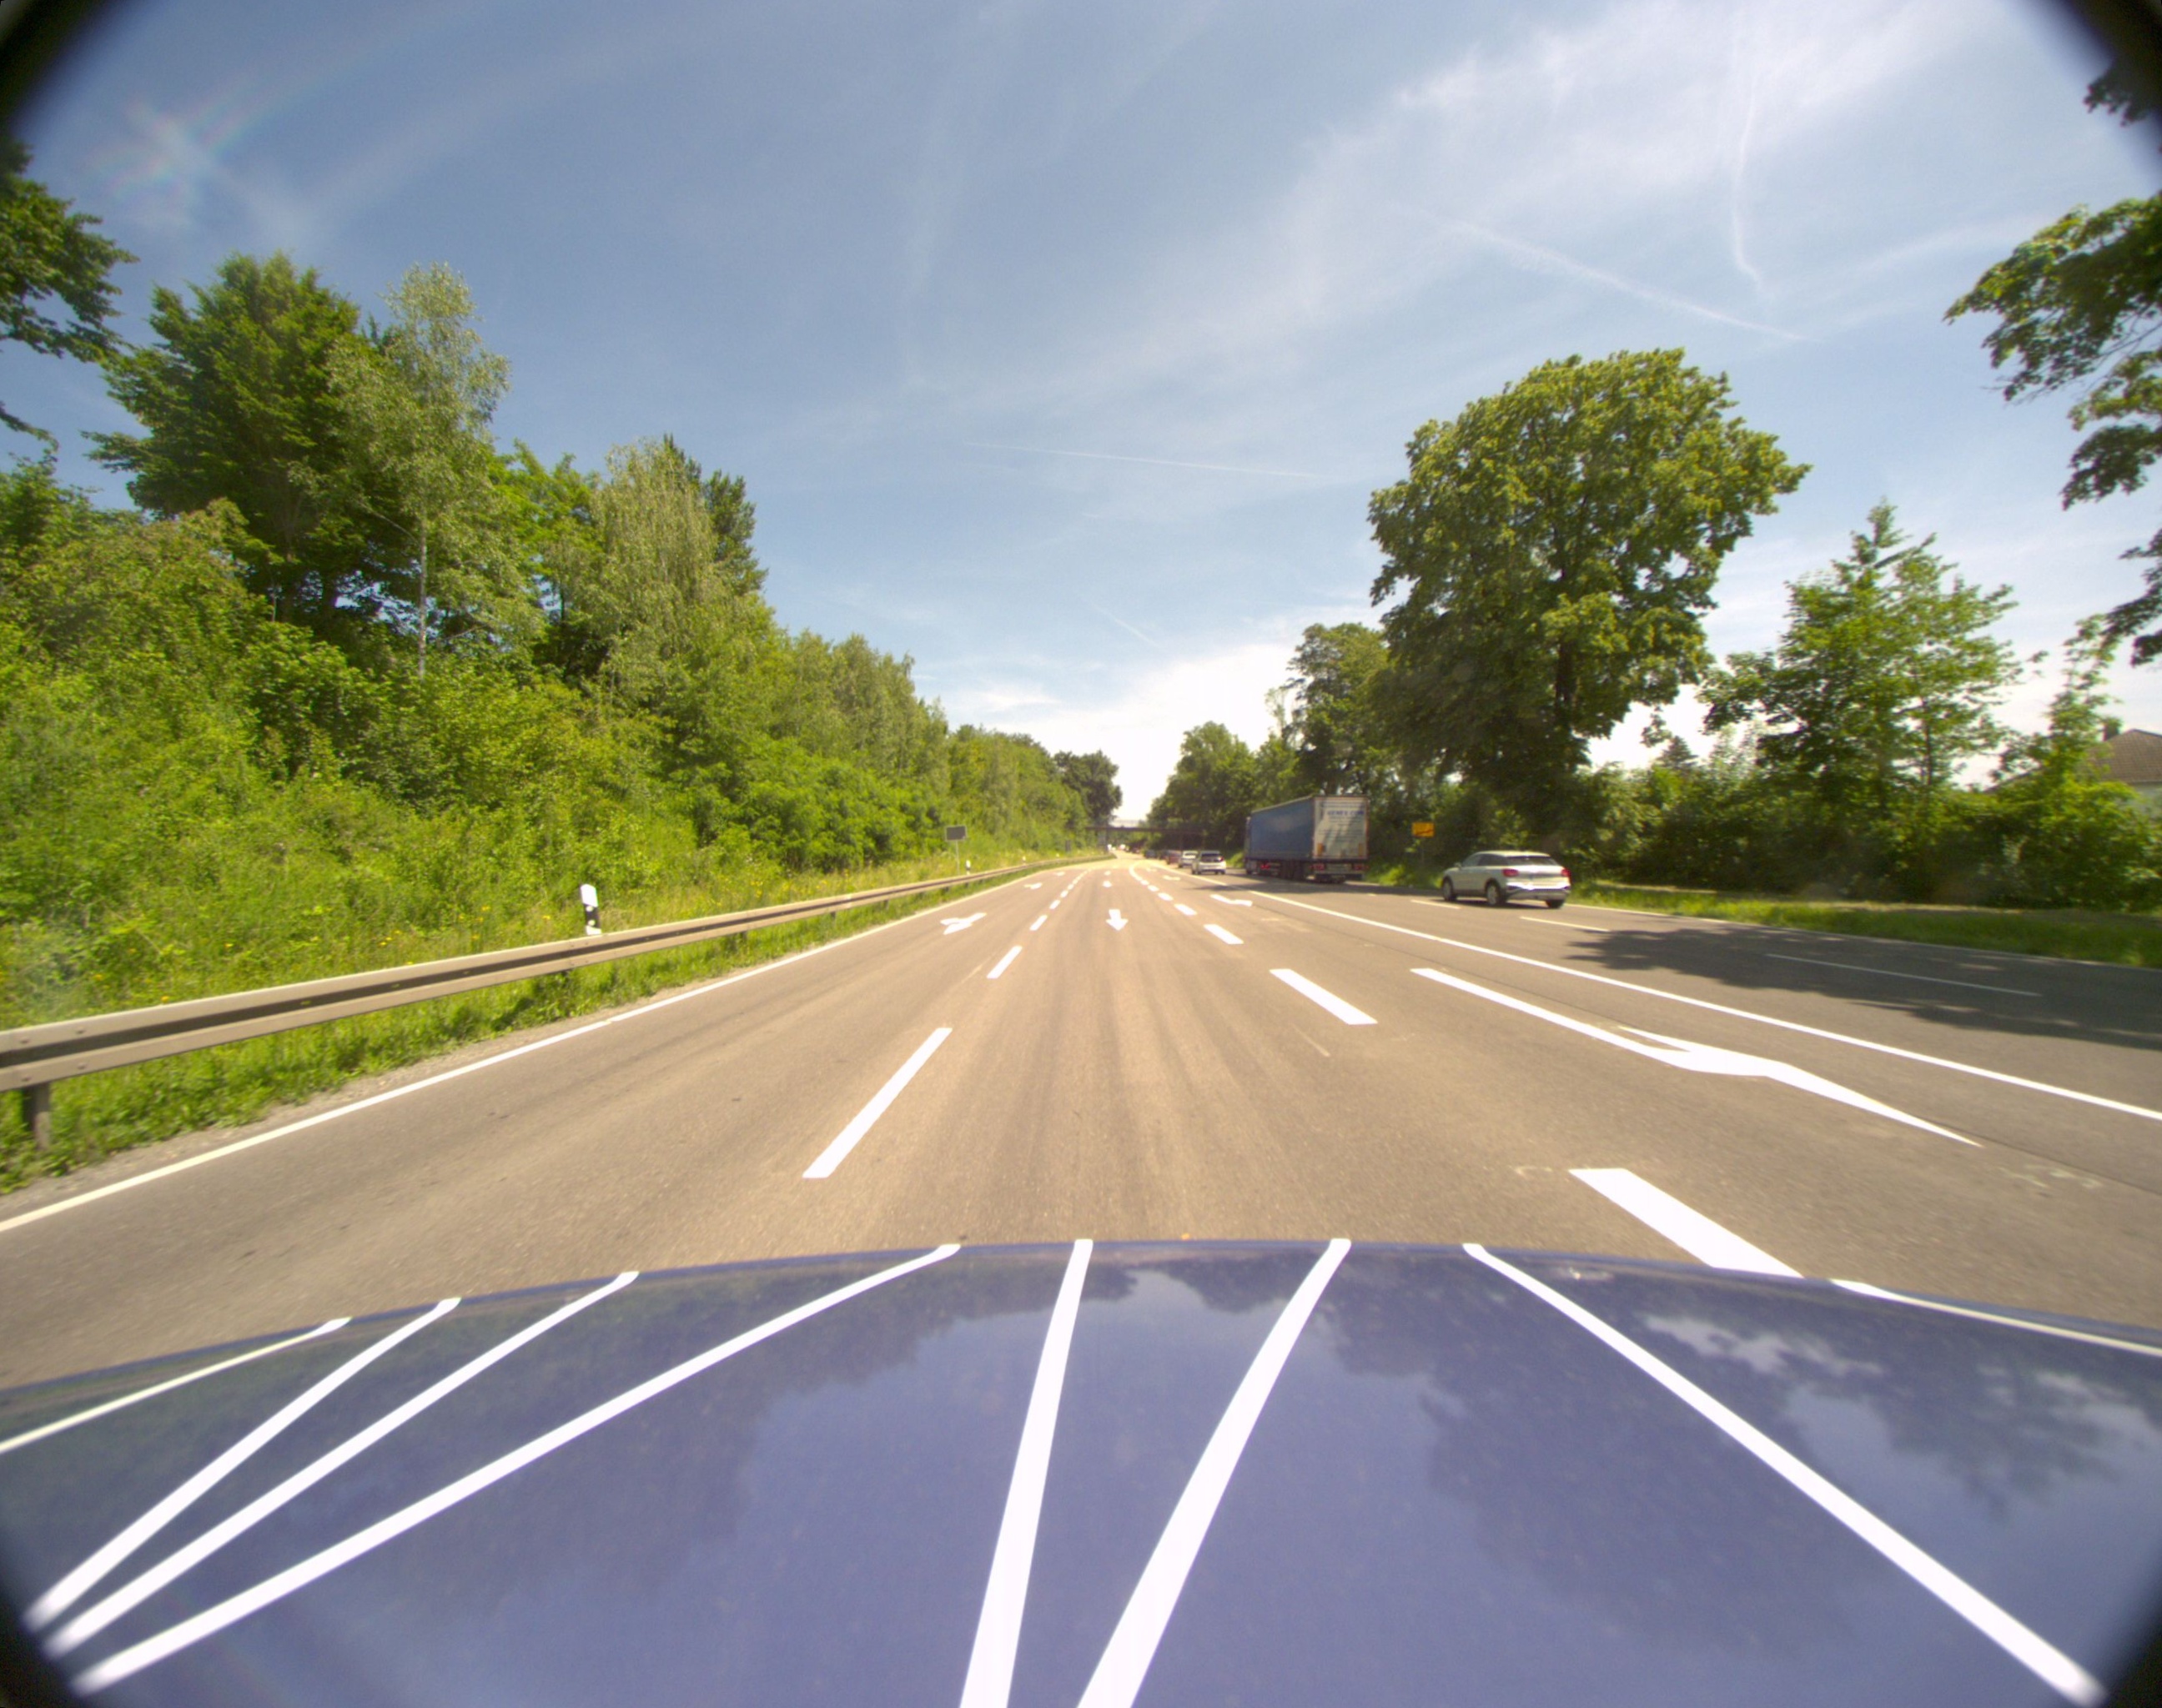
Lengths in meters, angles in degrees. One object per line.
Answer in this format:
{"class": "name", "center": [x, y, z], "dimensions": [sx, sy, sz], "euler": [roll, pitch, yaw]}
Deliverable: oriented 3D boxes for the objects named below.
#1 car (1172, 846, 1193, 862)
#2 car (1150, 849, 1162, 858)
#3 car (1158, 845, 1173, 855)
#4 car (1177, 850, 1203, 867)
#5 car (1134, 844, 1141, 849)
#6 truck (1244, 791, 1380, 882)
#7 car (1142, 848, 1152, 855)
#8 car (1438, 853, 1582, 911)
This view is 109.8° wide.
{"class": "car", "center": [10.341, -0.001, 77.657], "dimensions": [1.771, 1.437, 3.775], "euler": [3, 1, 2]}
{"class": "car", "center": [12.855, -0.027, 130.032], "dimensions": [1.771, 1.378, 3.999], "euler": [-2, 1, 2]}
{"class": "car", "center": [12.231, -0.581, 110.525], "dimensions": [1.645, 1.430, 4.016], "euler": [-2, 0, 0]}
{"class": "car", "center": [9.637, 0.380, 67.621], "dimensions": [1.704, 1.407, 4.562], "euler": [-1, 1, 1]}
{"class": "car", "center": [15.208, -2.044, 204.045], "dimensions": [1.907, 1.500, 3.765], "euler": [0, 0, 3]}
{"class": "truck", "center": [12.247, -0.874, 42.792], "dimensions": [2.975, 4.152, 16.573], "euler": [0, 1, 1]}
{"class": "car", "center": [13.513, -0.515, 156.163], "dimensions": [1.771, 1.378, 3.999], "euler": [-2, 1, 2]}
{"class": "car", "center": [11.680, 0.694, 21.050], "dimensions": [1.765, 1.419, 4.180], "euler": [0, 0, 2]}
